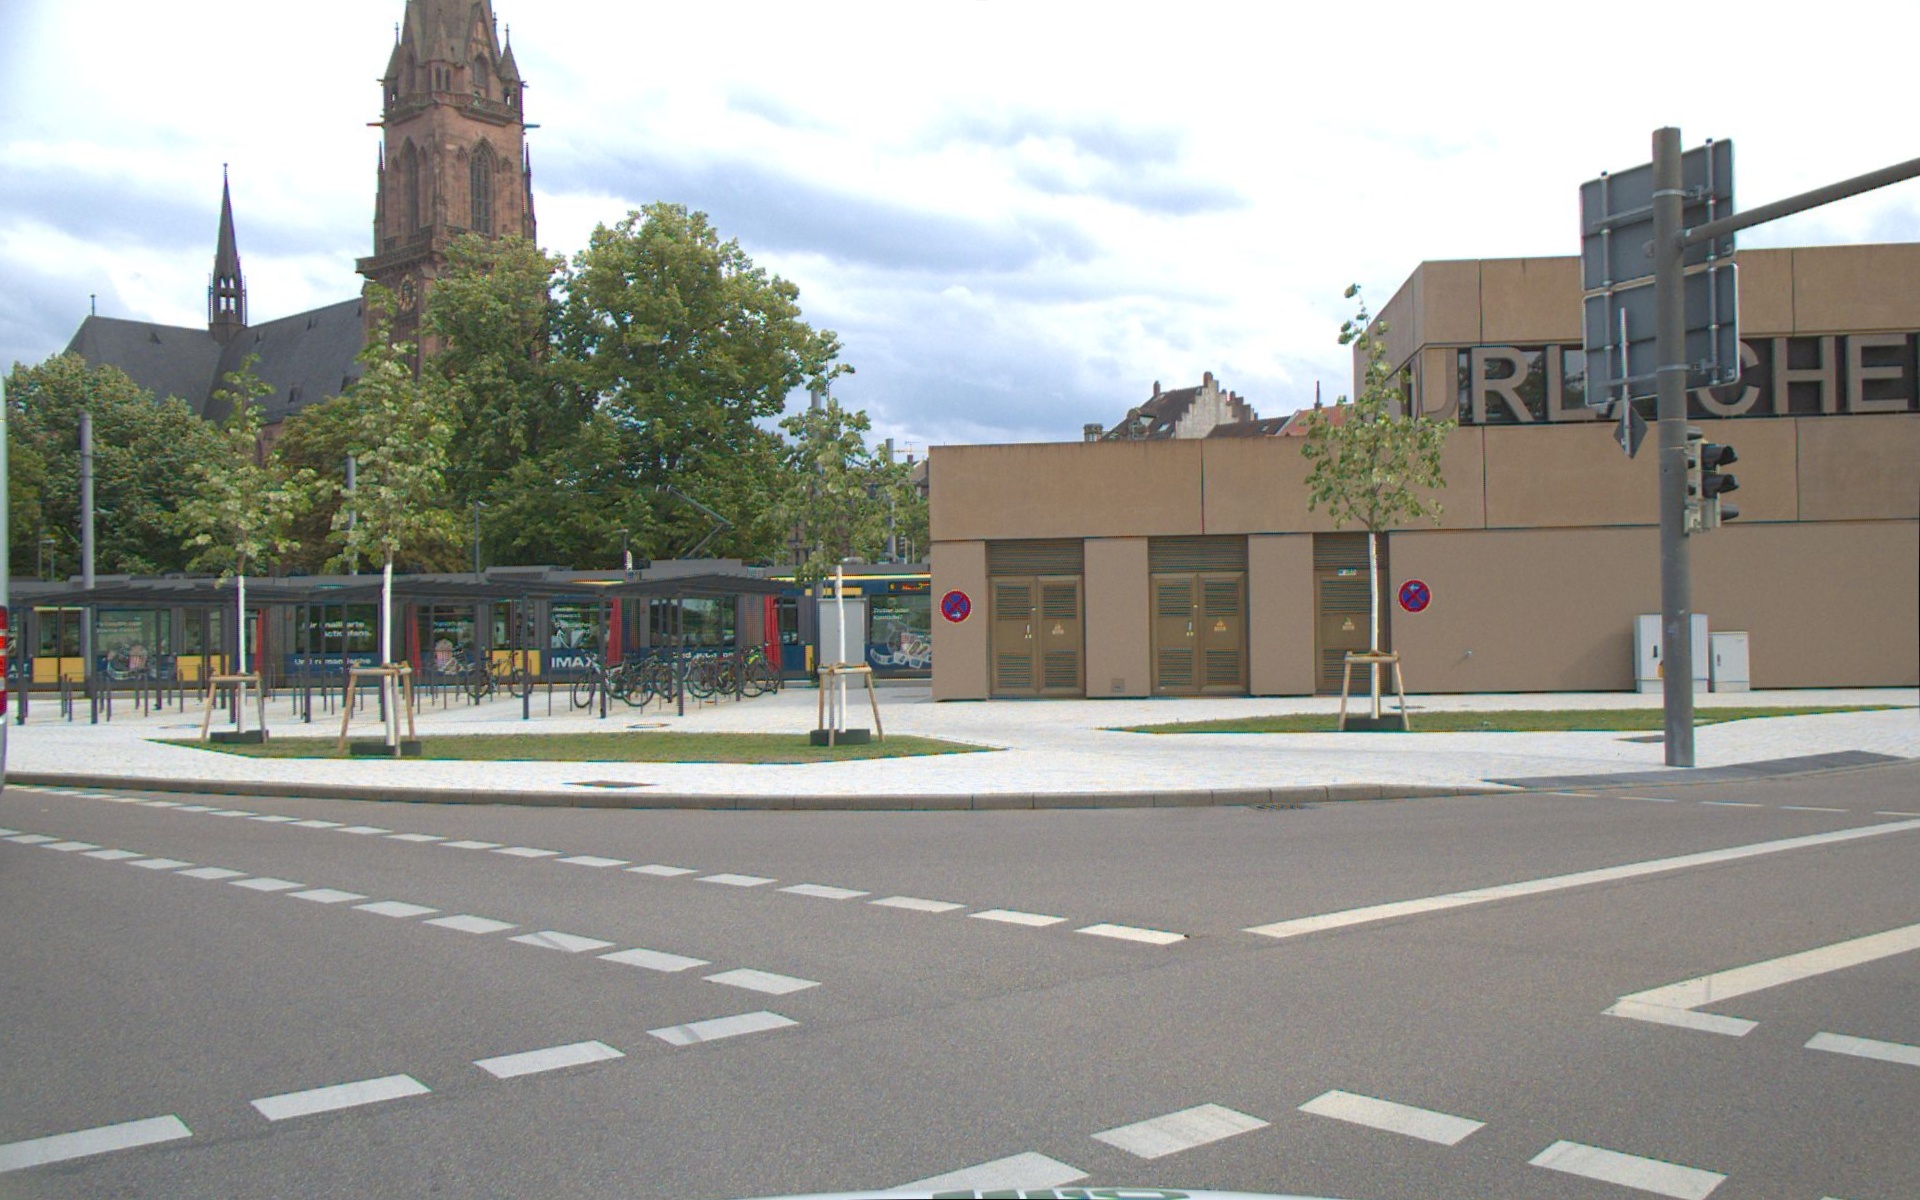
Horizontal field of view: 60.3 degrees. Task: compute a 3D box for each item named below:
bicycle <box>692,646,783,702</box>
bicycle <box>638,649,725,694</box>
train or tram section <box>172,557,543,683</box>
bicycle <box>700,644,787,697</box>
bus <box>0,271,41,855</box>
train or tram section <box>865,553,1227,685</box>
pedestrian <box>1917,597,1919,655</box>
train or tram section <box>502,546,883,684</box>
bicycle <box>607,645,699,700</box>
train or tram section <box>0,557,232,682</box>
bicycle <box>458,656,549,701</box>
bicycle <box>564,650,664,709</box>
[{"bbox_3d":[-4.857,1.609,36.158,1.921,1.176,0.584,0,0,-3],"label":"bicycle"},{"bbox_3d":[-6.529,1.670,38.773,1.919,0.987,0.584,0,0,3],"label":"bicycle"},{"bbox_3d":[-16.546,0.508,45.765,9.200,3.269,3.064,0,0,5],"label":"train or tram section"},{"bbox_3d":[-4.910,1.597,37.614,1.921,1.176,0.584,0,0,-3],"label":"bicycle"},{"bbox_3d":[-11.579,0.065,13.804,13.934,3.499,2.696,-3,-2,43],"label":"bus"},{"bbox_3d":[2.310,0.466,43.984,9.270,3.303,3.064,0,0,5],"label":"train or tram section"},{"bbox_3d":[20.629,0.795,34.583,0.792,1.763,0.781,-2,-2,12],"label":"pedestrian"},{"bbox_3d":[-7.130,0.361,44.863,9.688,3.510,3.064,0,0,5],"label":"train or tram section"},{"bbox_3d":[-6.757,1.592,36.425,1.921,1.176,0.584,0,0,-3],"label":"bicycle"},{"bbox_3d":[-25.709,0.499,46.636,9.141,3.334,3.064,0,0,5],"label":"train or tram section"},{"bbox_3d":[-10.453,1.797,37.870,1.919,0.971,0.584,0,0,3],"label":"bicycle"},{"bbox_3d":[-7.024,1.612,33.648,1.921,1.176,0.584,0,0,-3],"label":"bicycle"}]
